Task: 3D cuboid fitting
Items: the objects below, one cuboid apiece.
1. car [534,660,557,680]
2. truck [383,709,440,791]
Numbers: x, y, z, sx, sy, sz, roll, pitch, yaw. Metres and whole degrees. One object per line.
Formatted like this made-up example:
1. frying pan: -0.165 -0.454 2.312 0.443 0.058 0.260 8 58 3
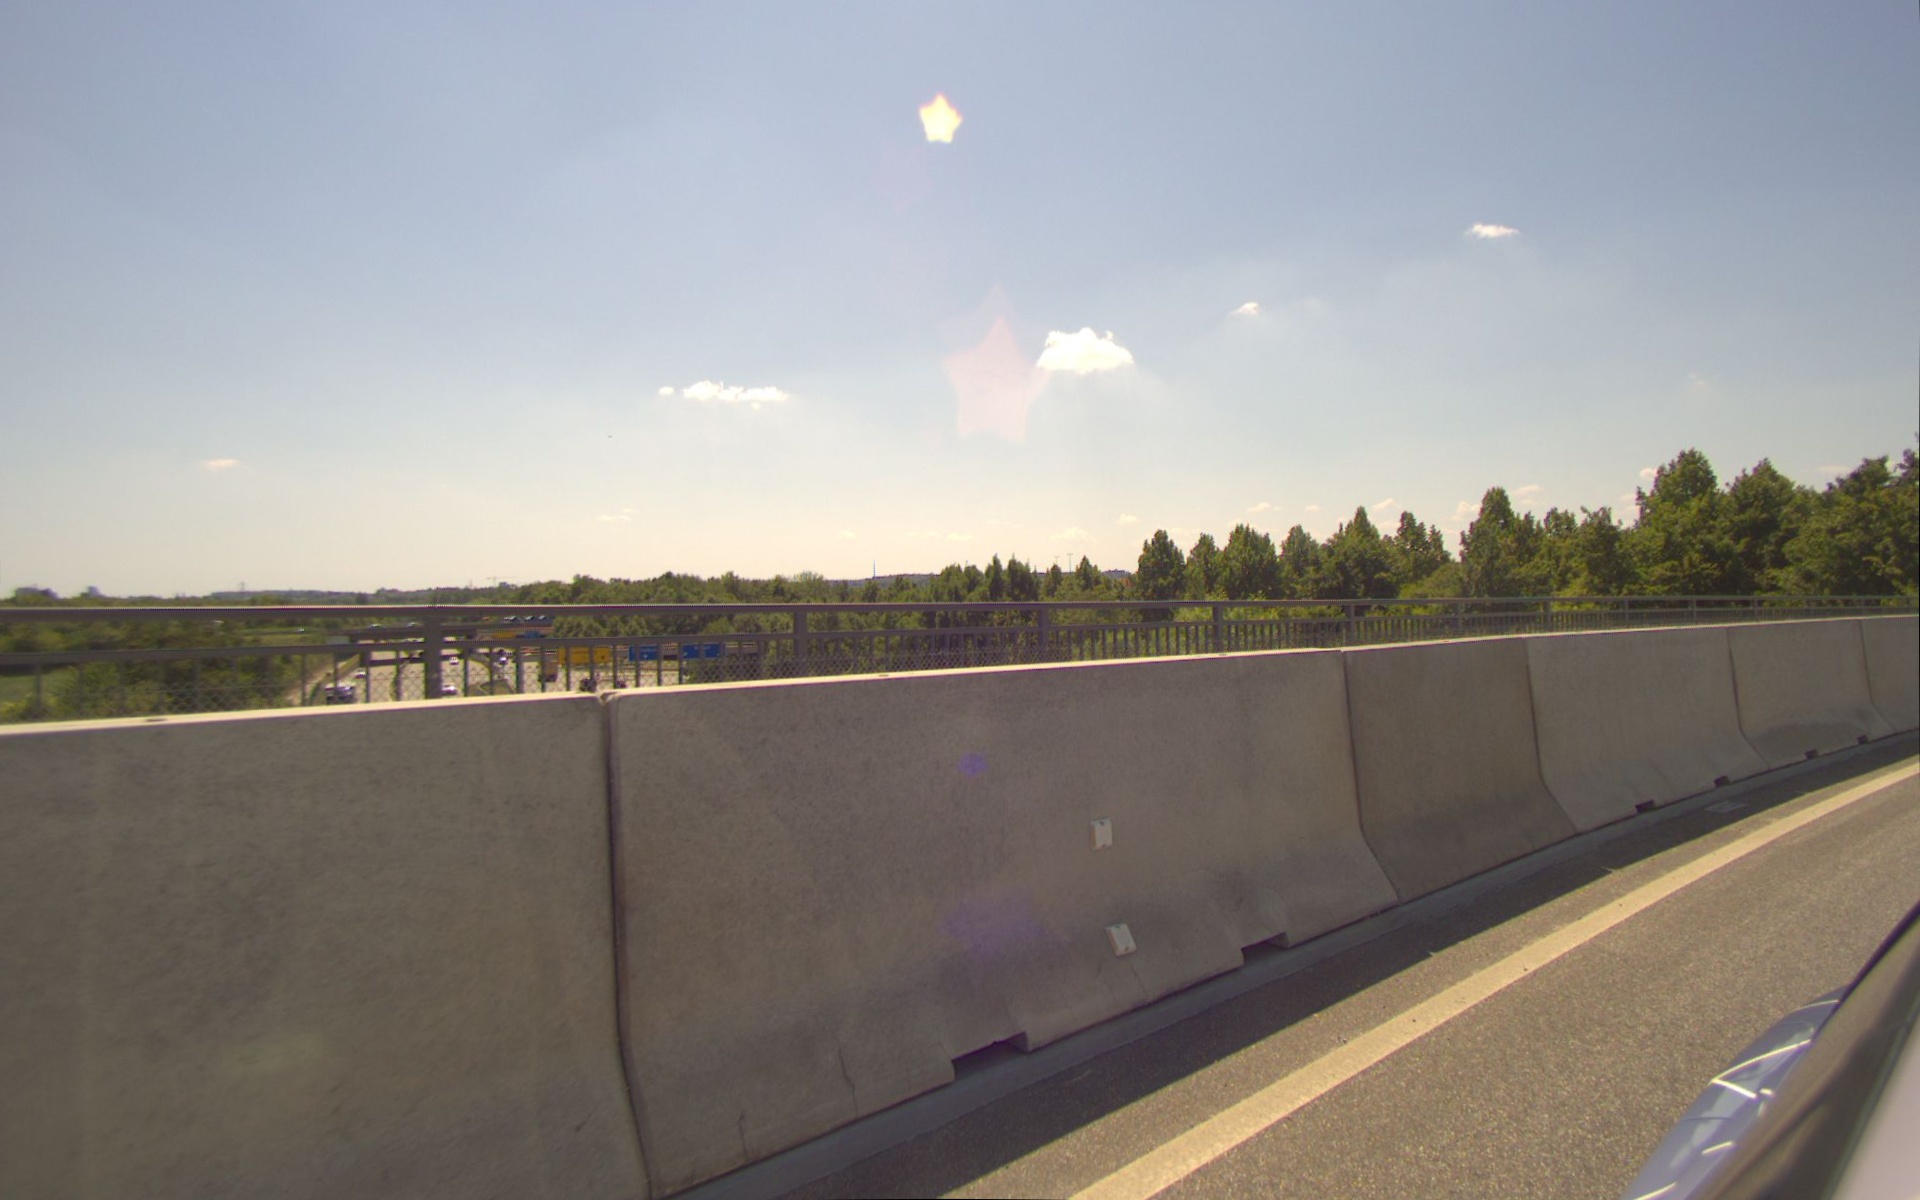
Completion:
1. car: -66.943 11.295 163.362 2.864 3.120 7.382 0 -3 -28
2. truck: -33.486 8.998 62.051 2.720 4.094 9.362 -1 -3 -27
